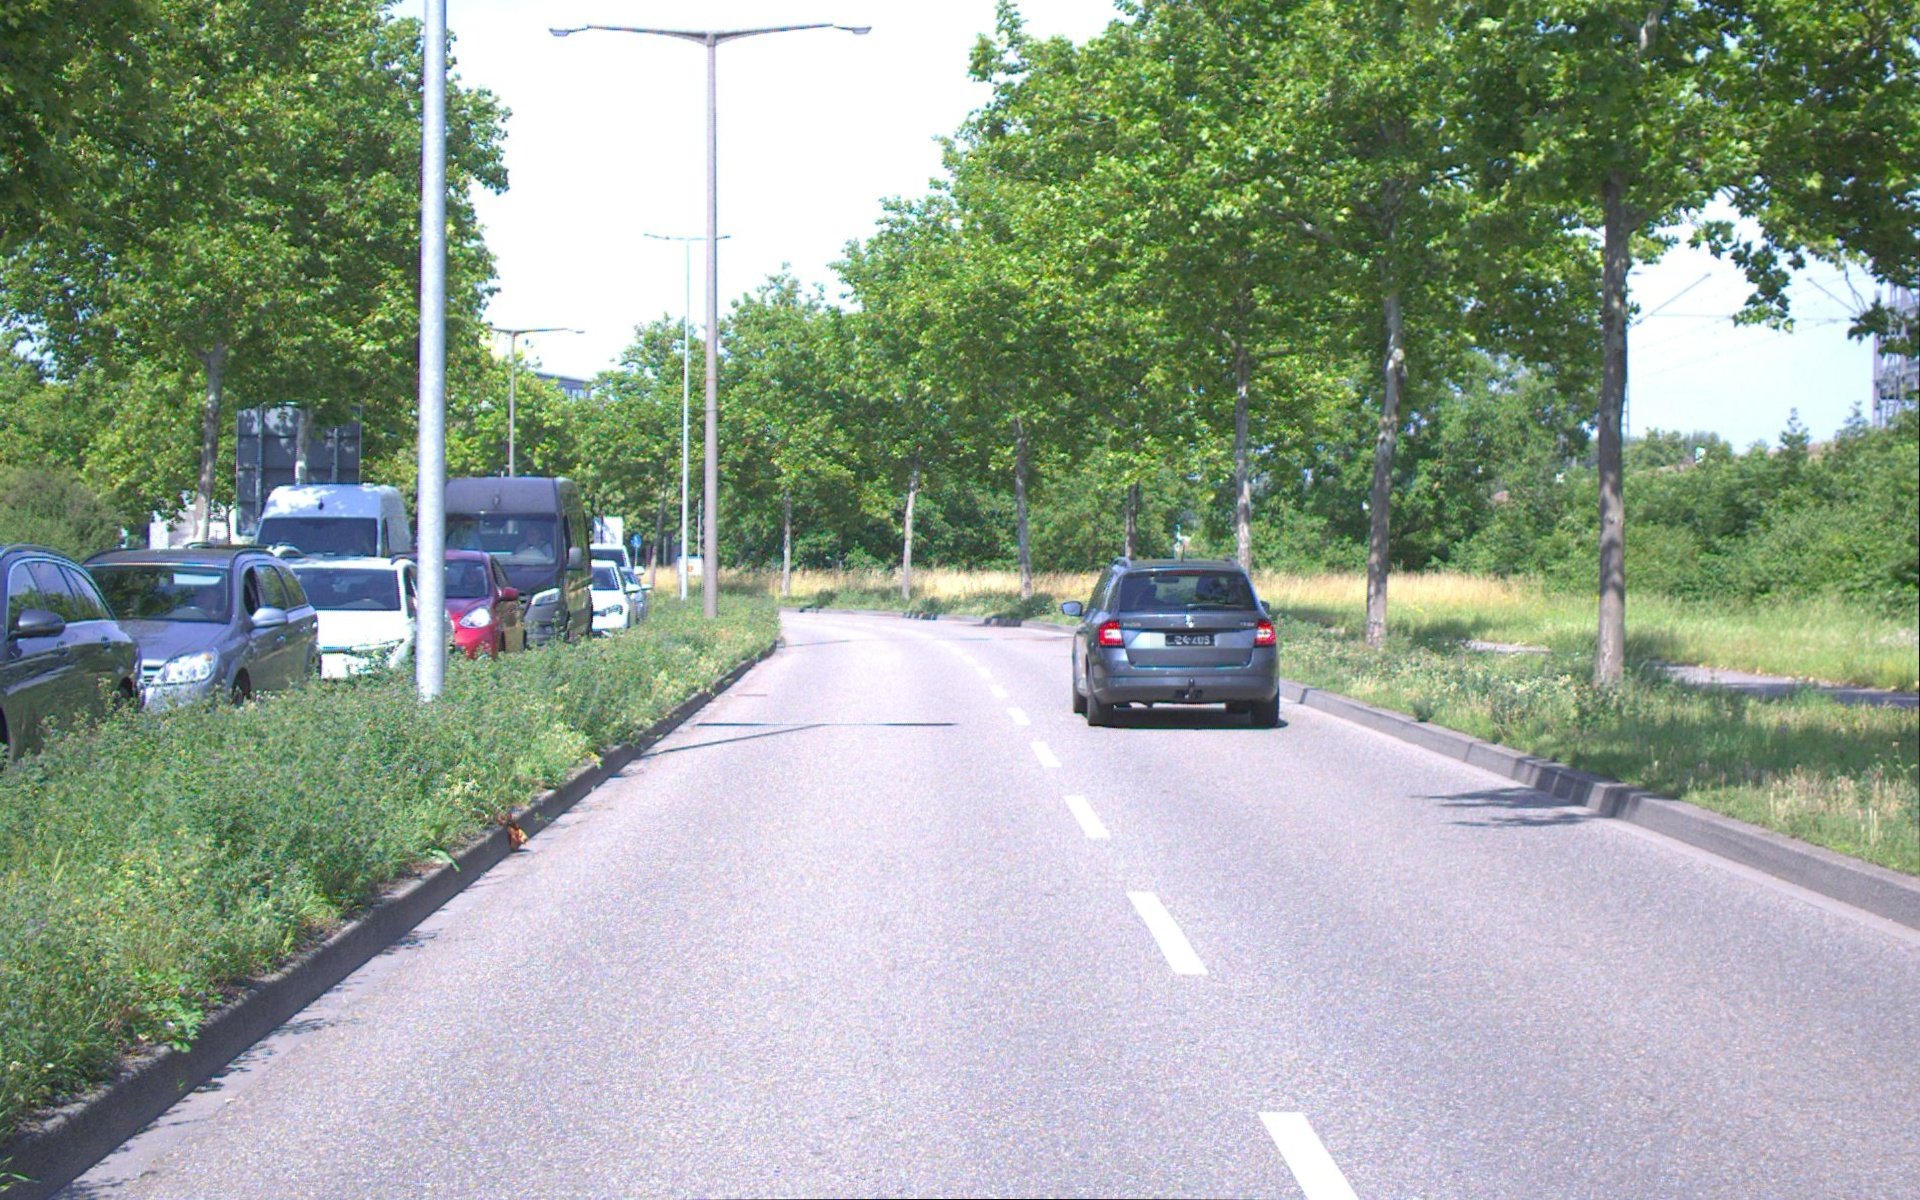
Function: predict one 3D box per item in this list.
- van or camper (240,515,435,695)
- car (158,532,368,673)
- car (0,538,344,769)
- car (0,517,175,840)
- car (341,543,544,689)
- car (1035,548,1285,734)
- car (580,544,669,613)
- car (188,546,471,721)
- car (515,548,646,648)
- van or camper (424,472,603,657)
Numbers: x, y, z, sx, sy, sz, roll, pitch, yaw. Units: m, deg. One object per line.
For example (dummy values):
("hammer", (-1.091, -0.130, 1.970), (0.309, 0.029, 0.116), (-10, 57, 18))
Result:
("van or camper", (-9.351, 0.026, 52.098), (2.015, 2.579, 5.517), (0, 1, -1))
("car", (-9.025, -0.003, 44.836), (1.993, 1.750, 4.000), (0, 1, -1))
("car", (-5.790, 0.316, 24.999), (1.813, 1.525, 4.642), (0, 1, 0))
("car", (-5.705, 0.359, 18.568), (1.847, 1.602, 5.008), (0, 1, -1))
("car", (-5.583, 0.130, 37.491), (1.689, 1.505, 3.815), (0, 1, -1))
("car", (1.724, 0.316, 30.800), (1.674, 1.448, 4.036), (3, 1, -4))
("car", (-7.604, -0.515, 78.137), (1.689, 1.525, 3.815), (0, 1, -1))
("car", (-5.611, 0.244, 31.076), (1.783, 1.454, 4.472), (0, 1, -1))
("car", (-5.937, -0.033, 54.144), (1.689, 1.525, 3.815), (0, 0, -1))
("van or camper", (-5.984, -0.468, 46.643), (1.938, 2.360, 5.399), (0, 0, -2))
